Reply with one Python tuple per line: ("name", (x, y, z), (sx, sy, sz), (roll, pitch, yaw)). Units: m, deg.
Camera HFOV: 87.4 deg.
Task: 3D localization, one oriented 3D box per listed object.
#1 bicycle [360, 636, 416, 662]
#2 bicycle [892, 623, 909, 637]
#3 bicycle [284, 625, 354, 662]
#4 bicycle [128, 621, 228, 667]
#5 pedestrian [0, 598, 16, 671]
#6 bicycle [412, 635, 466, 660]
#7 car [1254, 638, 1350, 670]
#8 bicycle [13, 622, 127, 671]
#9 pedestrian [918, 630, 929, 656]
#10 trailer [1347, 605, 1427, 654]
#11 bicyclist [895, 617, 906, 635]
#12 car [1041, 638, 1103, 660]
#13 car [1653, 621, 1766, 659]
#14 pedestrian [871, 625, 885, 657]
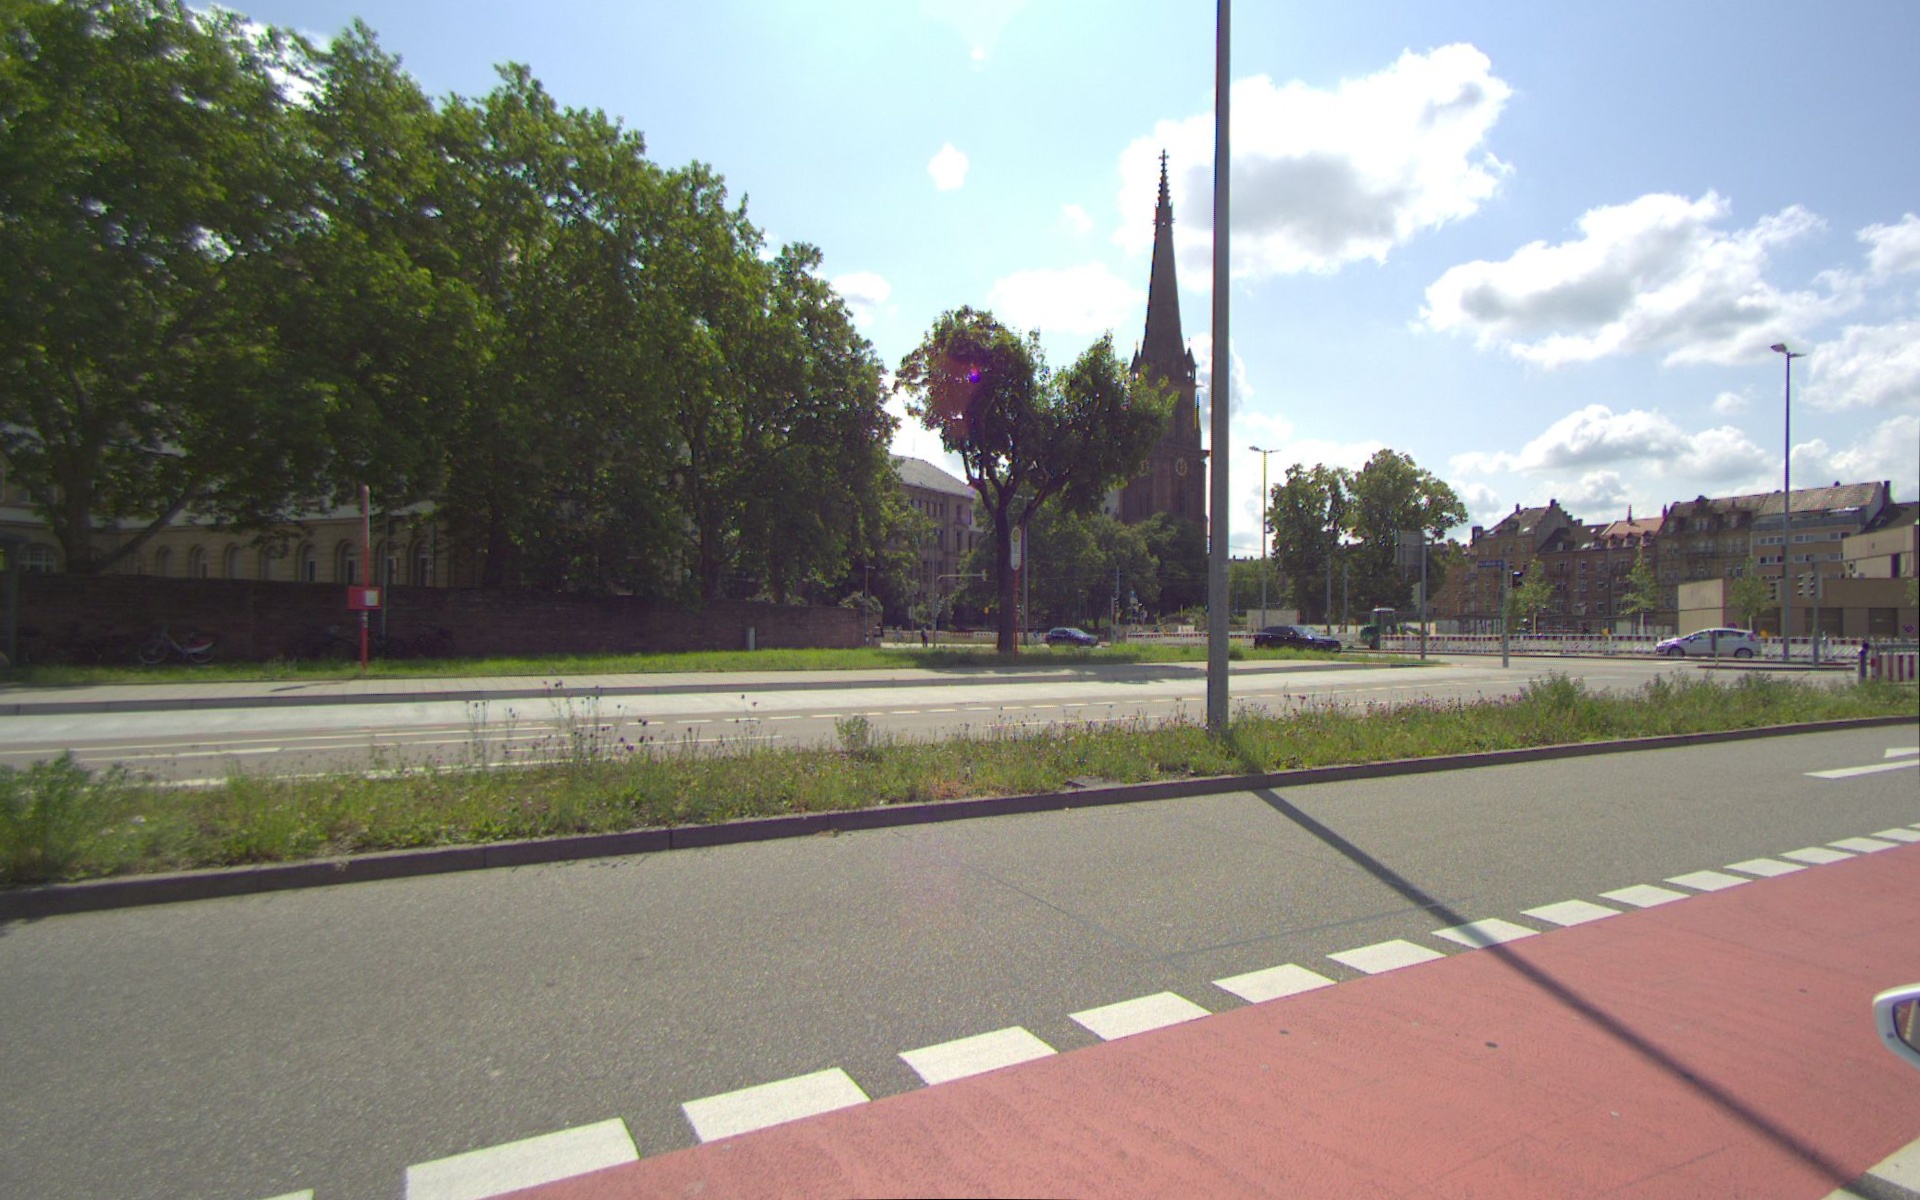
("bicycle", (-17.573, 1.497, 30.888), (0.391, 0.799, 1.462), (0, -1, 33))
("bicycle", (-5.185, 2.597, 87.804), (0.659, 1.161, 2.054), (2, 0, -27))
("bicycle", (-18.615, 1.257, 29.207), (0.391, 1.043, 1.683), (0, -1, 33))
("bicycle", (-20.560, 1.148, 26.456), (0.391, 1.152, 2.032), (0, -1, 35))
("pedestrian", (-21.832, 0.770, 22.514), (0.710, 1.632, 0.779), (0, -1, 31))
("bicycle", (-16.682, 1.511, 32.174), (0.391, 0.799, 1.540), (0, -1, 33))
("car", (17.429, 2.699, 51.319), (1.977, 1.505, 4.474), (1, -2, -30))
("bicycle", (-21.793, 1.136, 24.647), (0.391, 1.152, 2.032), (0, -1, 35))
("pedestrian", (-2.619, 3.075, 72.248), (0.561, 1.844, 0.436), (2, 0, 42))
("trailer", (27.327, 1.856, 64.402), (4.277, 2.952, 2.001), (2, 0, 6))
("bicyclist", (-5.205, 2.240, 87.851), (0.659, 1.553, 0.642), (2, 0, -28))
("car", (8.145, 3.576, 73.584), (1.980, 1.505, 4.624), (1, -2, -34))
("car", (34.514, 1.820, 46.379), (3.947, 1.528, 1.996), (2, 0, 32))
("pedestrian", (-4.432, 2.211, 54.491), (0.479, 1.718, 0.679), (2, 0, 21))
